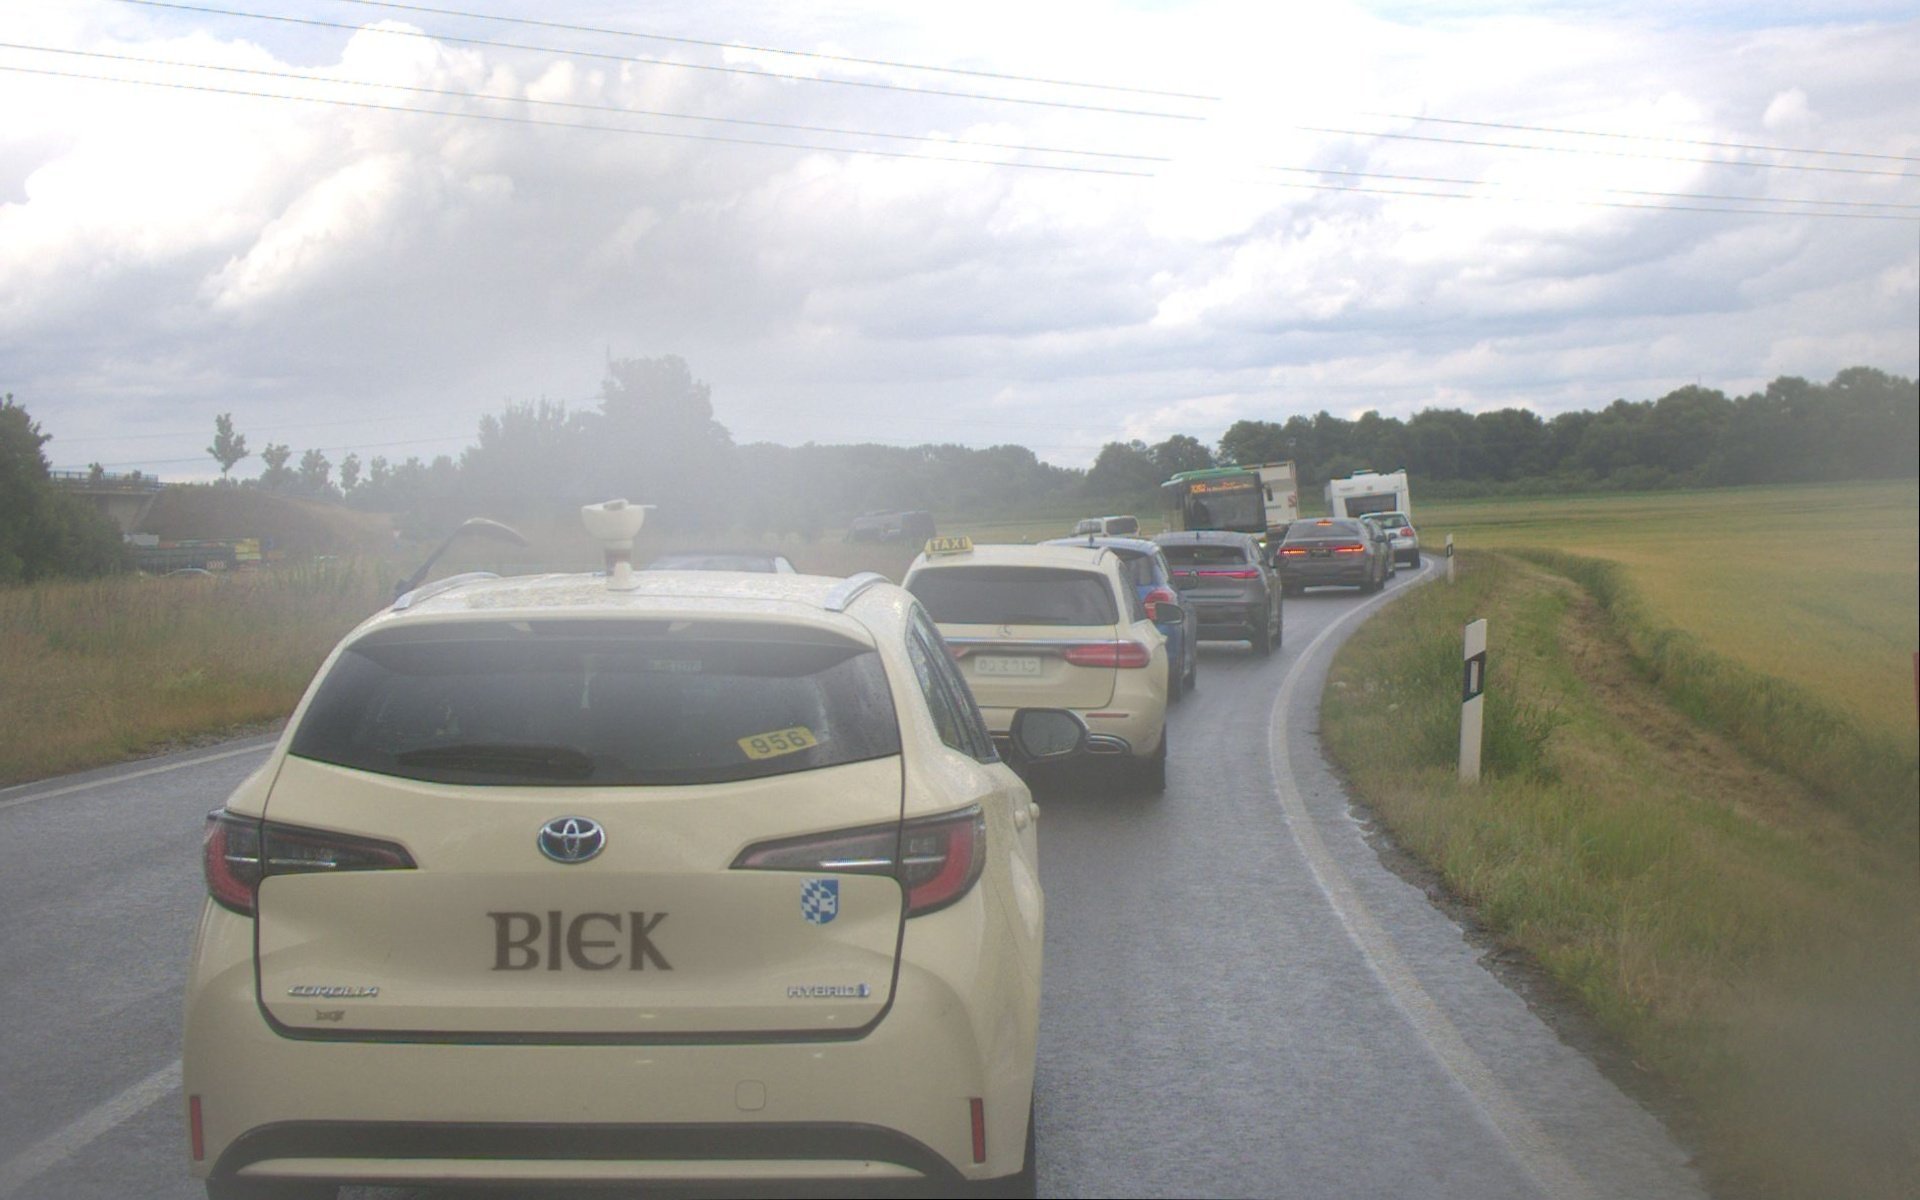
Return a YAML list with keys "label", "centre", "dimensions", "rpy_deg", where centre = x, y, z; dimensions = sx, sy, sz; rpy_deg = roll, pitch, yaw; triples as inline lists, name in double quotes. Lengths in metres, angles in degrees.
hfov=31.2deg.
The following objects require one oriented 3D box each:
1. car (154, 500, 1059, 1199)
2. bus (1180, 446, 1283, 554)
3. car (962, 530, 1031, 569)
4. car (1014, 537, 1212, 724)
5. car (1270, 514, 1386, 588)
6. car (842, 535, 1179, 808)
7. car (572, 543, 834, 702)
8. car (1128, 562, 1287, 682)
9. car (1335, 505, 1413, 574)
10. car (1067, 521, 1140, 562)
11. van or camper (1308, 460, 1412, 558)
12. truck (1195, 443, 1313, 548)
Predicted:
- label: "car"
  centre: [-0.604, 0.593, 8.200]
  dimensions: [1.613, 1.557, 3.738]
  rpy_deg: [0, 0, 2]
- label: "bus"
  centre: [8.657, -3.196, 110.805]
  dimensions: [2.758, 3.286, 12.502]
  rpy_deg: [0, 1, 2]
- label: "car"
  centre: [1.774, -2.484, 169.154]
  dimensions: [1.840, 1.852, 4.090]
  rpy_deg: [0, 0, -24]
- label: "car"
  centre: [1.499, 0.263, 32.532]
  dimensions: [1.613, 1.653, 3.737]
  rpy_deg: [0, 0, 6]
- label: "car"
  centre: [7.291, -0.941, 67.821]
  dimensions: [1.961, 1.408, 4.390]
  rpy_deg: [1, 0, 10]
- label: "car"
  centre: [0.422, 0.356, 21.504]
  dimensions: [1.841, 1.487, 4.608]
  rpy_deg: [0, 1, 4]
- label: "car"
  centre: [-2.354, 0.192, 32.527]
  dimensions: [1.630, 1.392, 4.318]
  rpy_deg: [0, 0, 7]
- label: "car"
  centre: [3.116, 0.256, 42.740]
  dimensions: [1.613, 1.408, 3.737]
  rpy_deg: [0, 0, 10]
- label: "car"
  centre: [10.801, -1.565, 89.599]
  dimensions: [1.960, 1.723, 3.737]
  rpy_deg: [0, 0, 7]
- label: "car"
  centre: [6.393, -2.586, 153.383]
  dimensions: [1.882, 1.767, 4.161]
  rpy_deg: [0, 0, -19]
- label: "van or camper"
  centre: [12.206, -2.782, 105.315]
  dimensions: [2.536, 2.886, 6.743]
  rpy_deg: [0, 1, 1]
- label: "truck"
  centre: [11.329, -4.000, 133.204]
  dimensions: [3.126, 3.839, 7.388]
  rpy_deg: [0, 0, -7]
